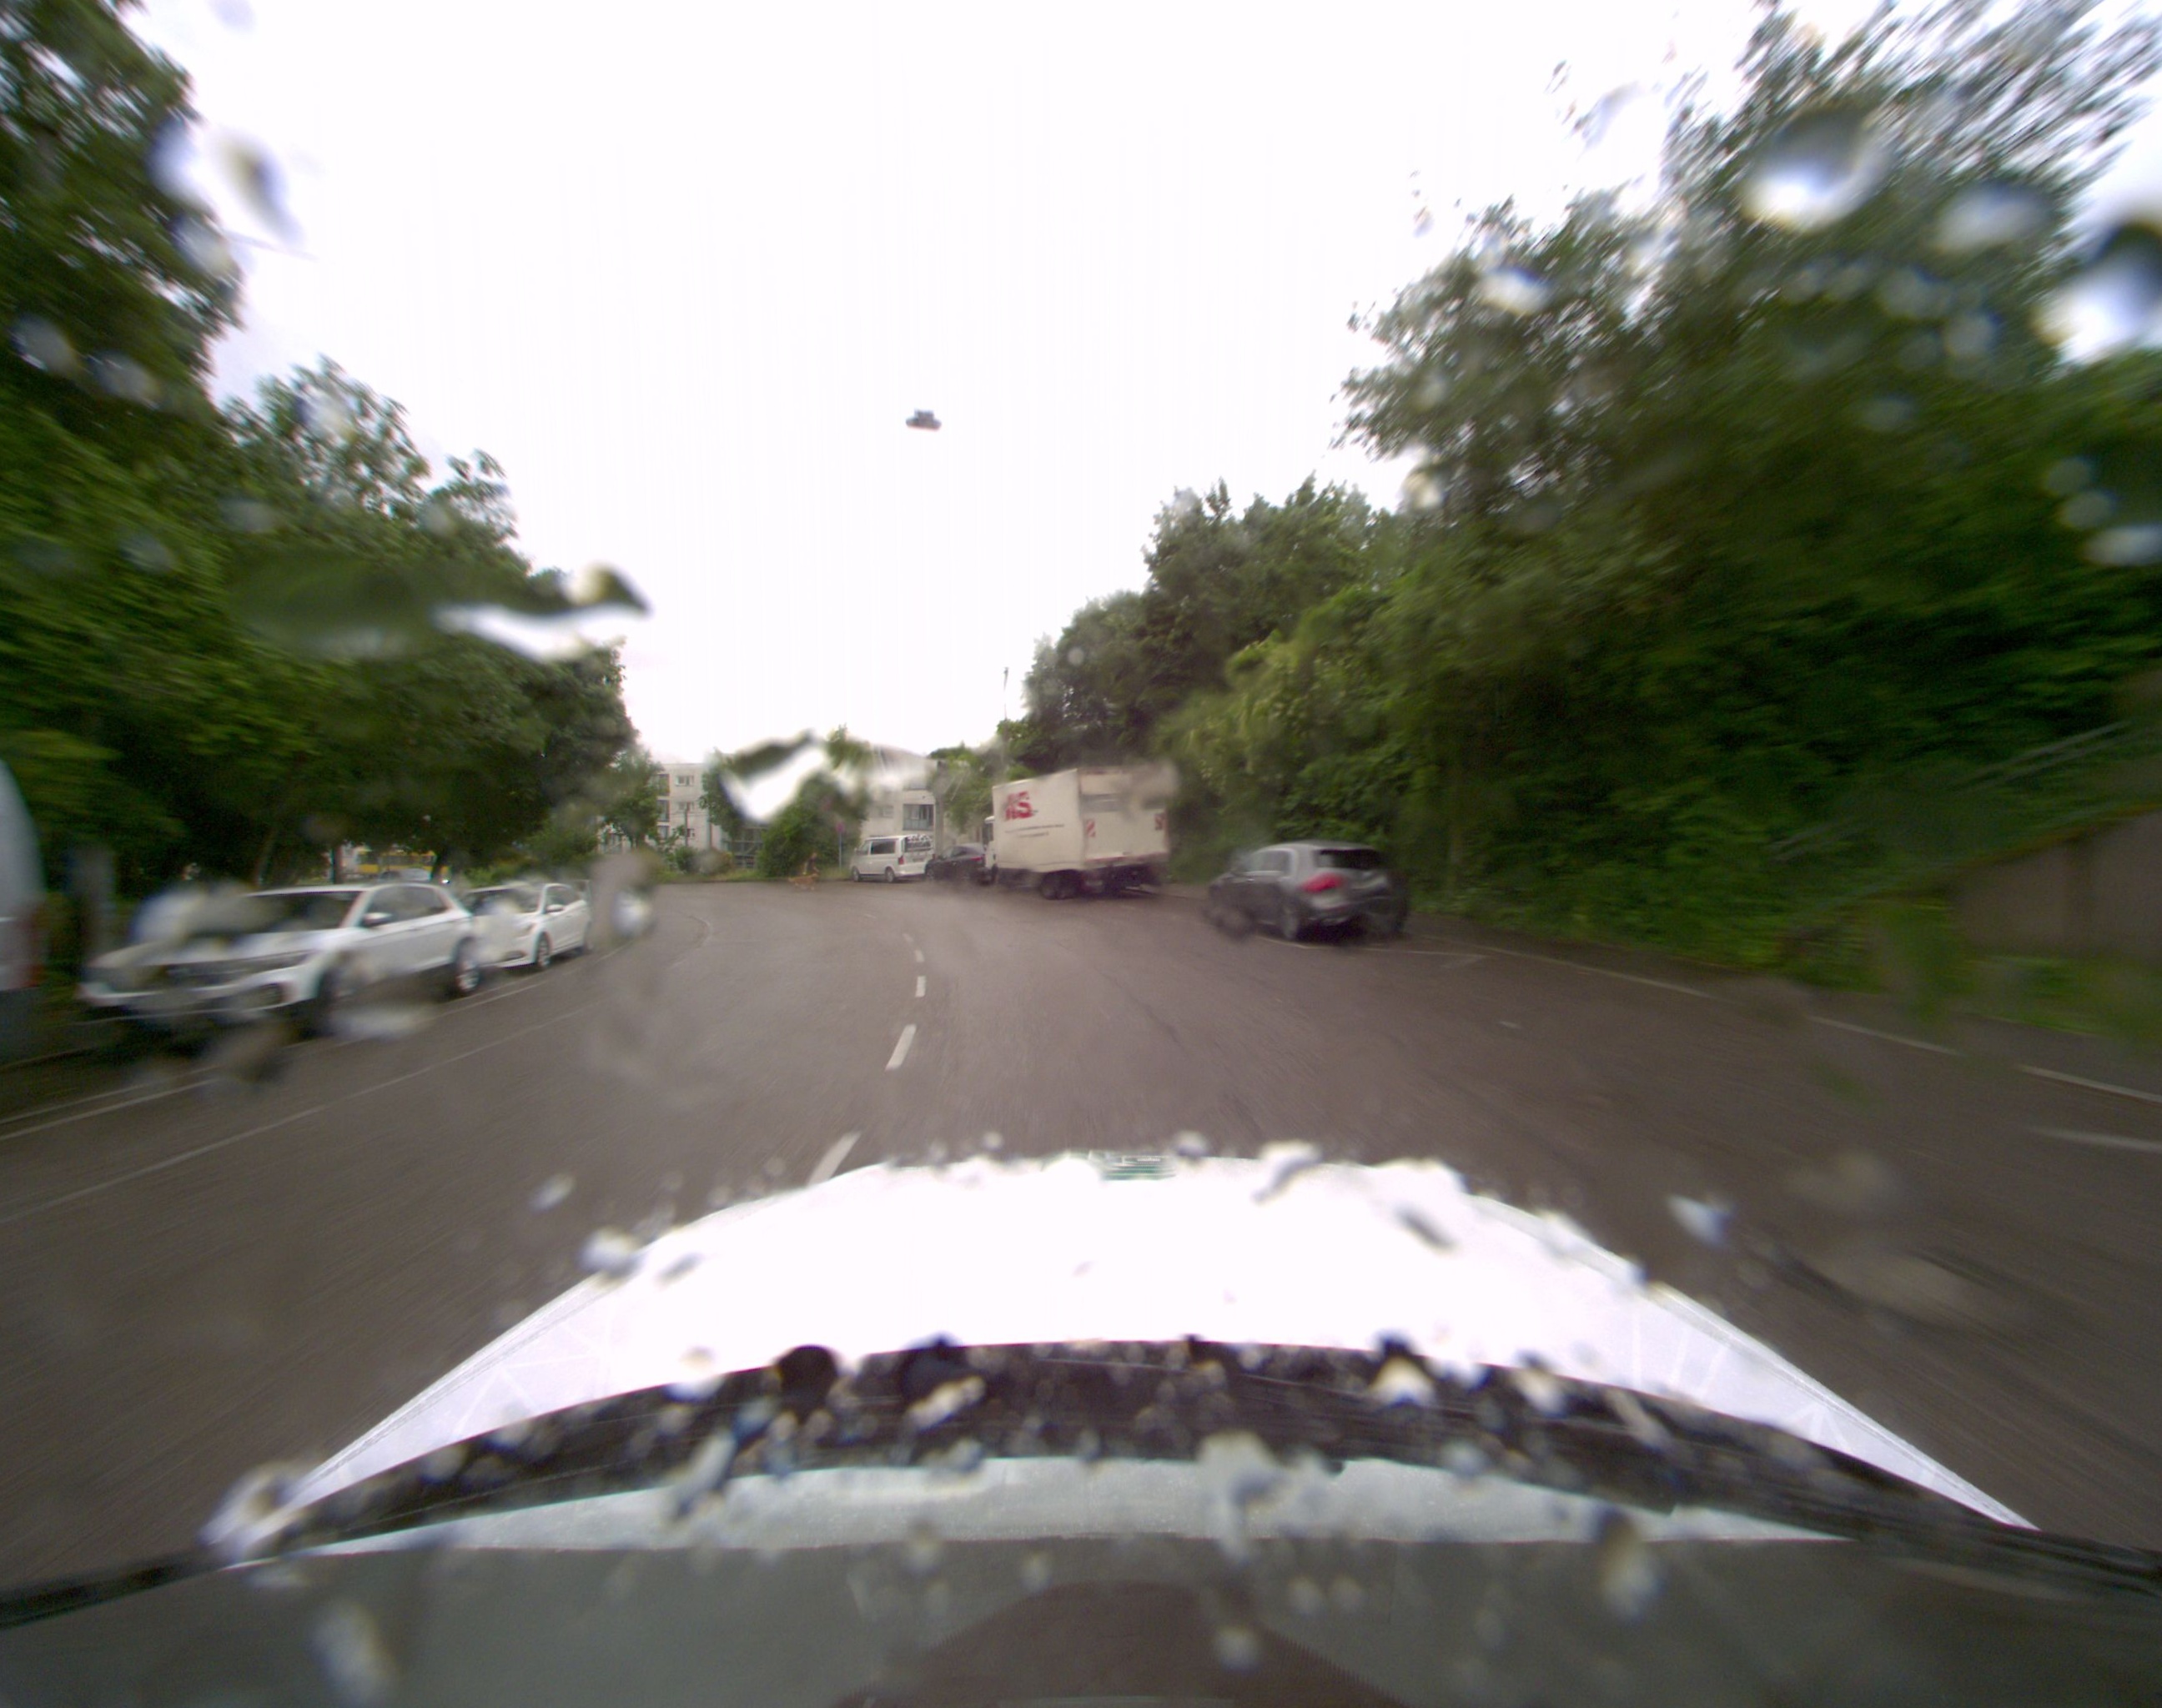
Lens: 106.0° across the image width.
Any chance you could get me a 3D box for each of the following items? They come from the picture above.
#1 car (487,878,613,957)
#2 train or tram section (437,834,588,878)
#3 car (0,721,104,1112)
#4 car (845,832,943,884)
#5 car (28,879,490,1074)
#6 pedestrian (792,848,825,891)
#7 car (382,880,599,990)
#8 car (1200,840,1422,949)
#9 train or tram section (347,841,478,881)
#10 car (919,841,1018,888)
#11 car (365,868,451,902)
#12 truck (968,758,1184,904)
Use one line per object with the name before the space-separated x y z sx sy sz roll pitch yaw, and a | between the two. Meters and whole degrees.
car | -12.137 1.372 18.877 1.782 1.443 3.983 -3 1 -25
train or tram section | -58.475 0.303 83.482 19.042 3.947 3.361 -2 1 25
car | -7.970 0.323 2.630 2.069 2.550 6.339 -1 -2 -3
car | -8.224 0.181 35.590 1.894 2.013 4.633 -5 3 -45
car | -8.722 1.127 9.247 1.806 1.583 4.005 -3 -1 -14
pedestrian | -11.414 0.645 34.114 0.917 1.661 0.807 -3 3 7
car | -10.094 1.278 14.324 1.756 1.456 4.025 -3 0 -16
car | 3.583 0.541 13.515 1.723 1.444 4.106 -2 1 -14
train or tram section | -74.944 0.818 91.079 18.580 3.947 3.361 -2 1 25
car | -4.327 0.391 30.788 1.732 1.555 4.228 -5 3 -38
car | -37.496 1.716 45.374 4.257 1.669 1.834 -1 4 24
truck | -0.546 -0.632 24.579 3.023 3.573 8.264 -4 2 -26
